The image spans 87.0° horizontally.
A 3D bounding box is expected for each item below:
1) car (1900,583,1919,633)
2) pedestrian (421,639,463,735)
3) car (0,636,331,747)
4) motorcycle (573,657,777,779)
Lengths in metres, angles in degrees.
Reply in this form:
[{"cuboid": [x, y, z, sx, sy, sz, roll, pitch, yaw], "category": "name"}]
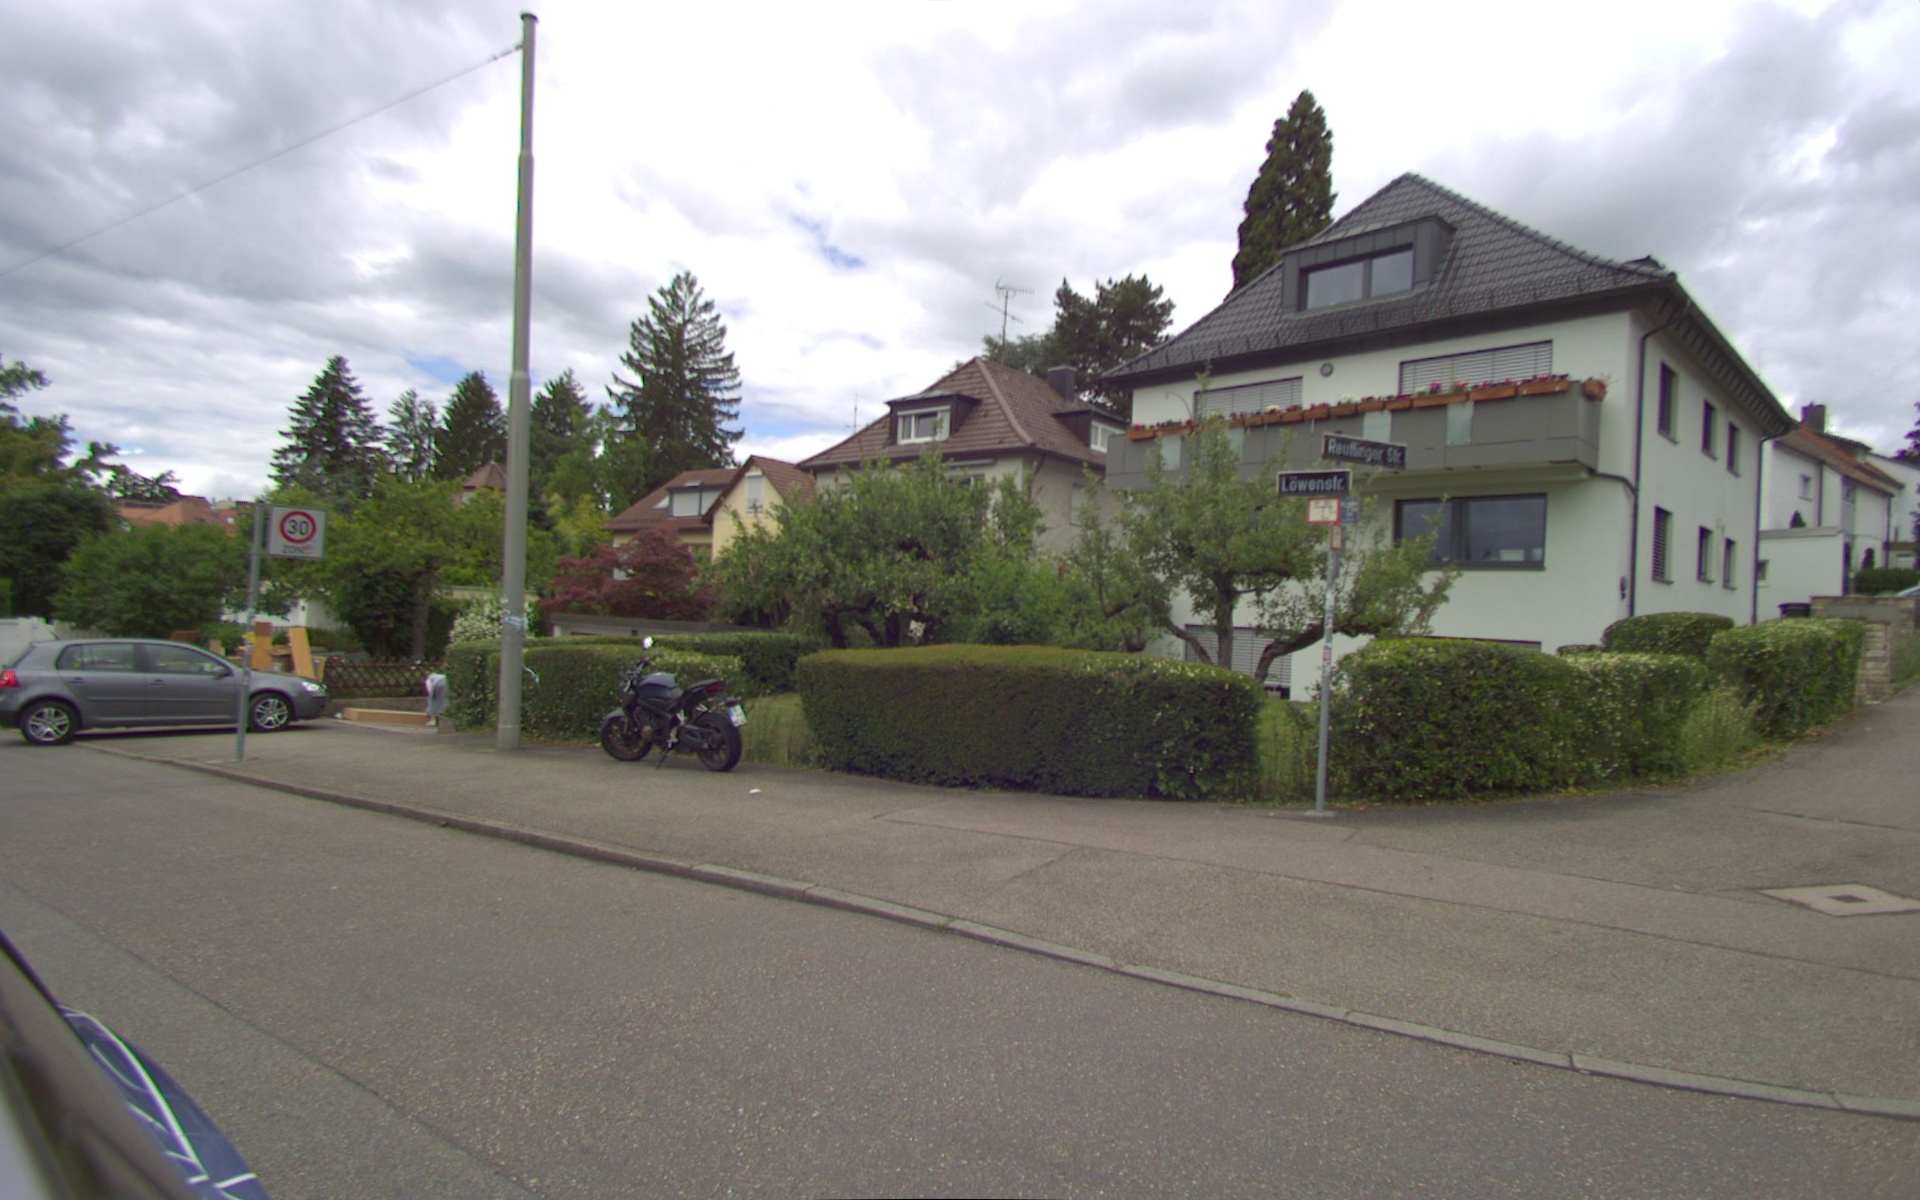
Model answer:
[{"cuboid": [28.705, 0.240, 27.675, 1.876, 1.378, 4.304, -2, 2, -44], "category": "car"}, {"cuboid": [-10.115, 1.678, 19.767, 0.635, 1.818, 0.615, 2, -2, -34], "category": "pedestrian"}, {"cuboid": [-11.995, 1.298, 15.464, 3.934, 1.473, 1.742, 1, -2, -36], "category": "car"}, {"cuboid": [-3.001, 1.180, 10.589, 2.137, 1.148, 0.767, -1, -3, 30], "category": "motorcycle"}]
